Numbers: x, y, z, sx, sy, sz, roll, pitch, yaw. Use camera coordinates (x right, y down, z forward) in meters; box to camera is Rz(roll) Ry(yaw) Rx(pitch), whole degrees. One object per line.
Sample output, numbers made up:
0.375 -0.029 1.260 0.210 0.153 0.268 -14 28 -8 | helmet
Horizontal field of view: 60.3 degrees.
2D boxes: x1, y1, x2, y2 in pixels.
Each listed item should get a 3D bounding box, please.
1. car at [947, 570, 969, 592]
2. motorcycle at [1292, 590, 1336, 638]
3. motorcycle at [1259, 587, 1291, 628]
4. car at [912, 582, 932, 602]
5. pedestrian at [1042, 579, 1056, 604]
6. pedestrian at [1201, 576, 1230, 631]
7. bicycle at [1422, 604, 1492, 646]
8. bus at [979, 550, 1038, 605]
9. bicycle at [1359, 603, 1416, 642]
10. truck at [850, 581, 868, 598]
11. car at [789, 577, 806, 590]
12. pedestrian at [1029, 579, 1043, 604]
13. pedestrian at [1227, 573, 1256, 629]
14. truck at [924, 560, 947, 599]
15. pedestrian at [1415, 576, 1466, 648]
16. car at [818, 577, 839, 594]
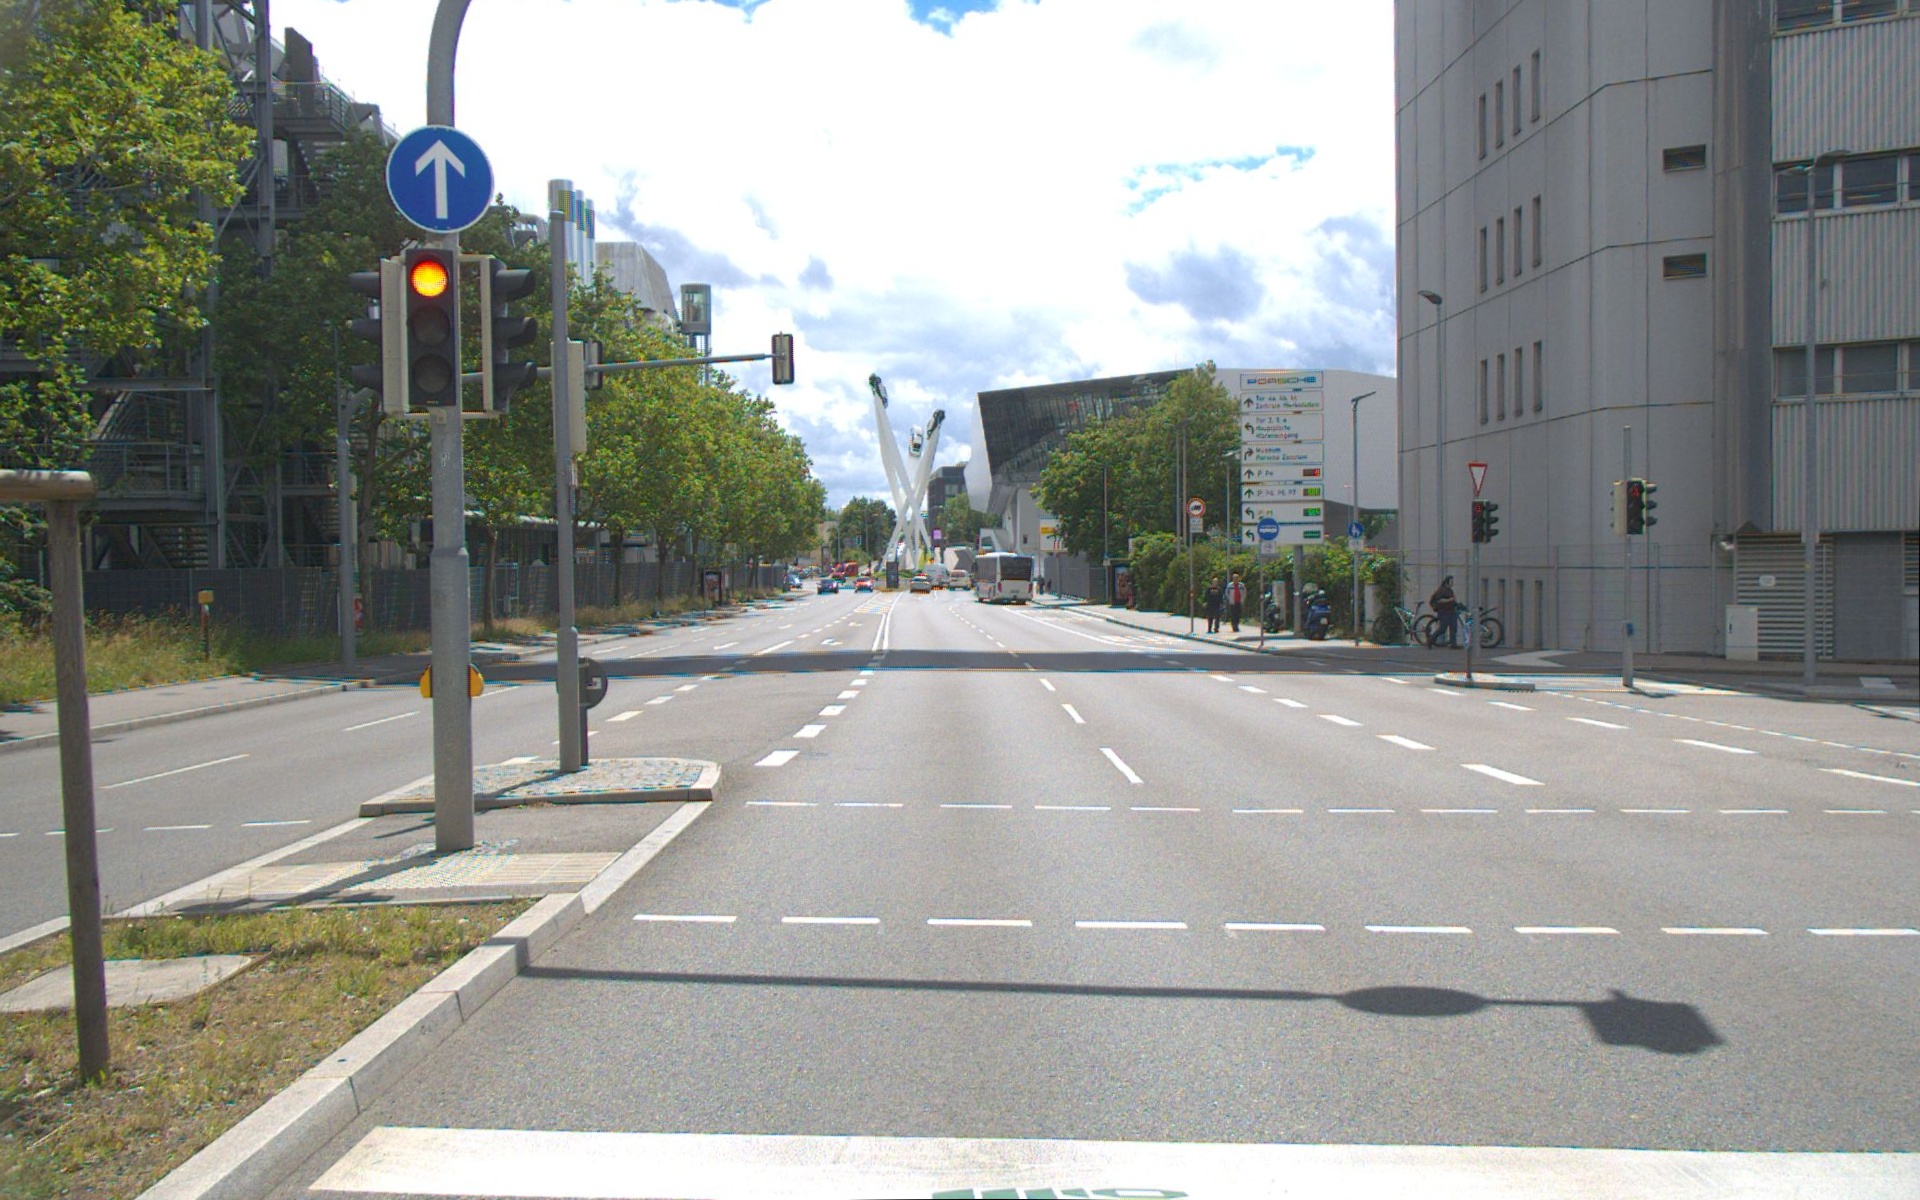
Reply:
-0.169 -1.928 165.587 1.952 2.049 4.001 1 -1 3 | car
9.619 0.378 45.019 0.692 1.224 2.024 -2 1 -1 | motorcycle
10.065 0.231 52.885 0.562 1.224 2.024 -2 1 -1 | motorcycle
-3.406 -0.735 148.585 1.703 1.772 3.691 0 0 -1 | car
7.504 -0.710 139.319 1.008 2.049 0.883 1 -1 -5 | pedestrian
8.129 0.095 52.646 0.803 1.737 0.881 0 0 -1 | pedestrian
11.650 0.582 38.840 0.392 0.953 1.912 0 0 -26 | bicycle
3.223 -1.487 113.292 3.383 3.605 10.601 0 0 -2 | bus
10.616 0.548 41.112 0.391 0.953 1.917 0 0 -19 | bicycle
-9.557 -0.963 156.226 1.553 1.564 3.673 0 0 -6 | truck
-19.649 -1.993 200.379 1.782 1.564 3.676 -2 0 -3 | car
6.398 -0.734 138.979 1.008 2.049 0.883 1 -1 -5 | pedestrian
8.948 0.042 52.522 0.803 1.772 0.637 0 0 -1 | pedestrian
-2.540 -2.122 172.082 2.343 3.965 6.176 0 0 -1 | truck
11.202 0.276 38.566 0.834 1.653 0.951 0 0 40 | pedestrian
-12.528 -1.413 157.587 1.782 1.564 3.677 -2 0 -2 | car
